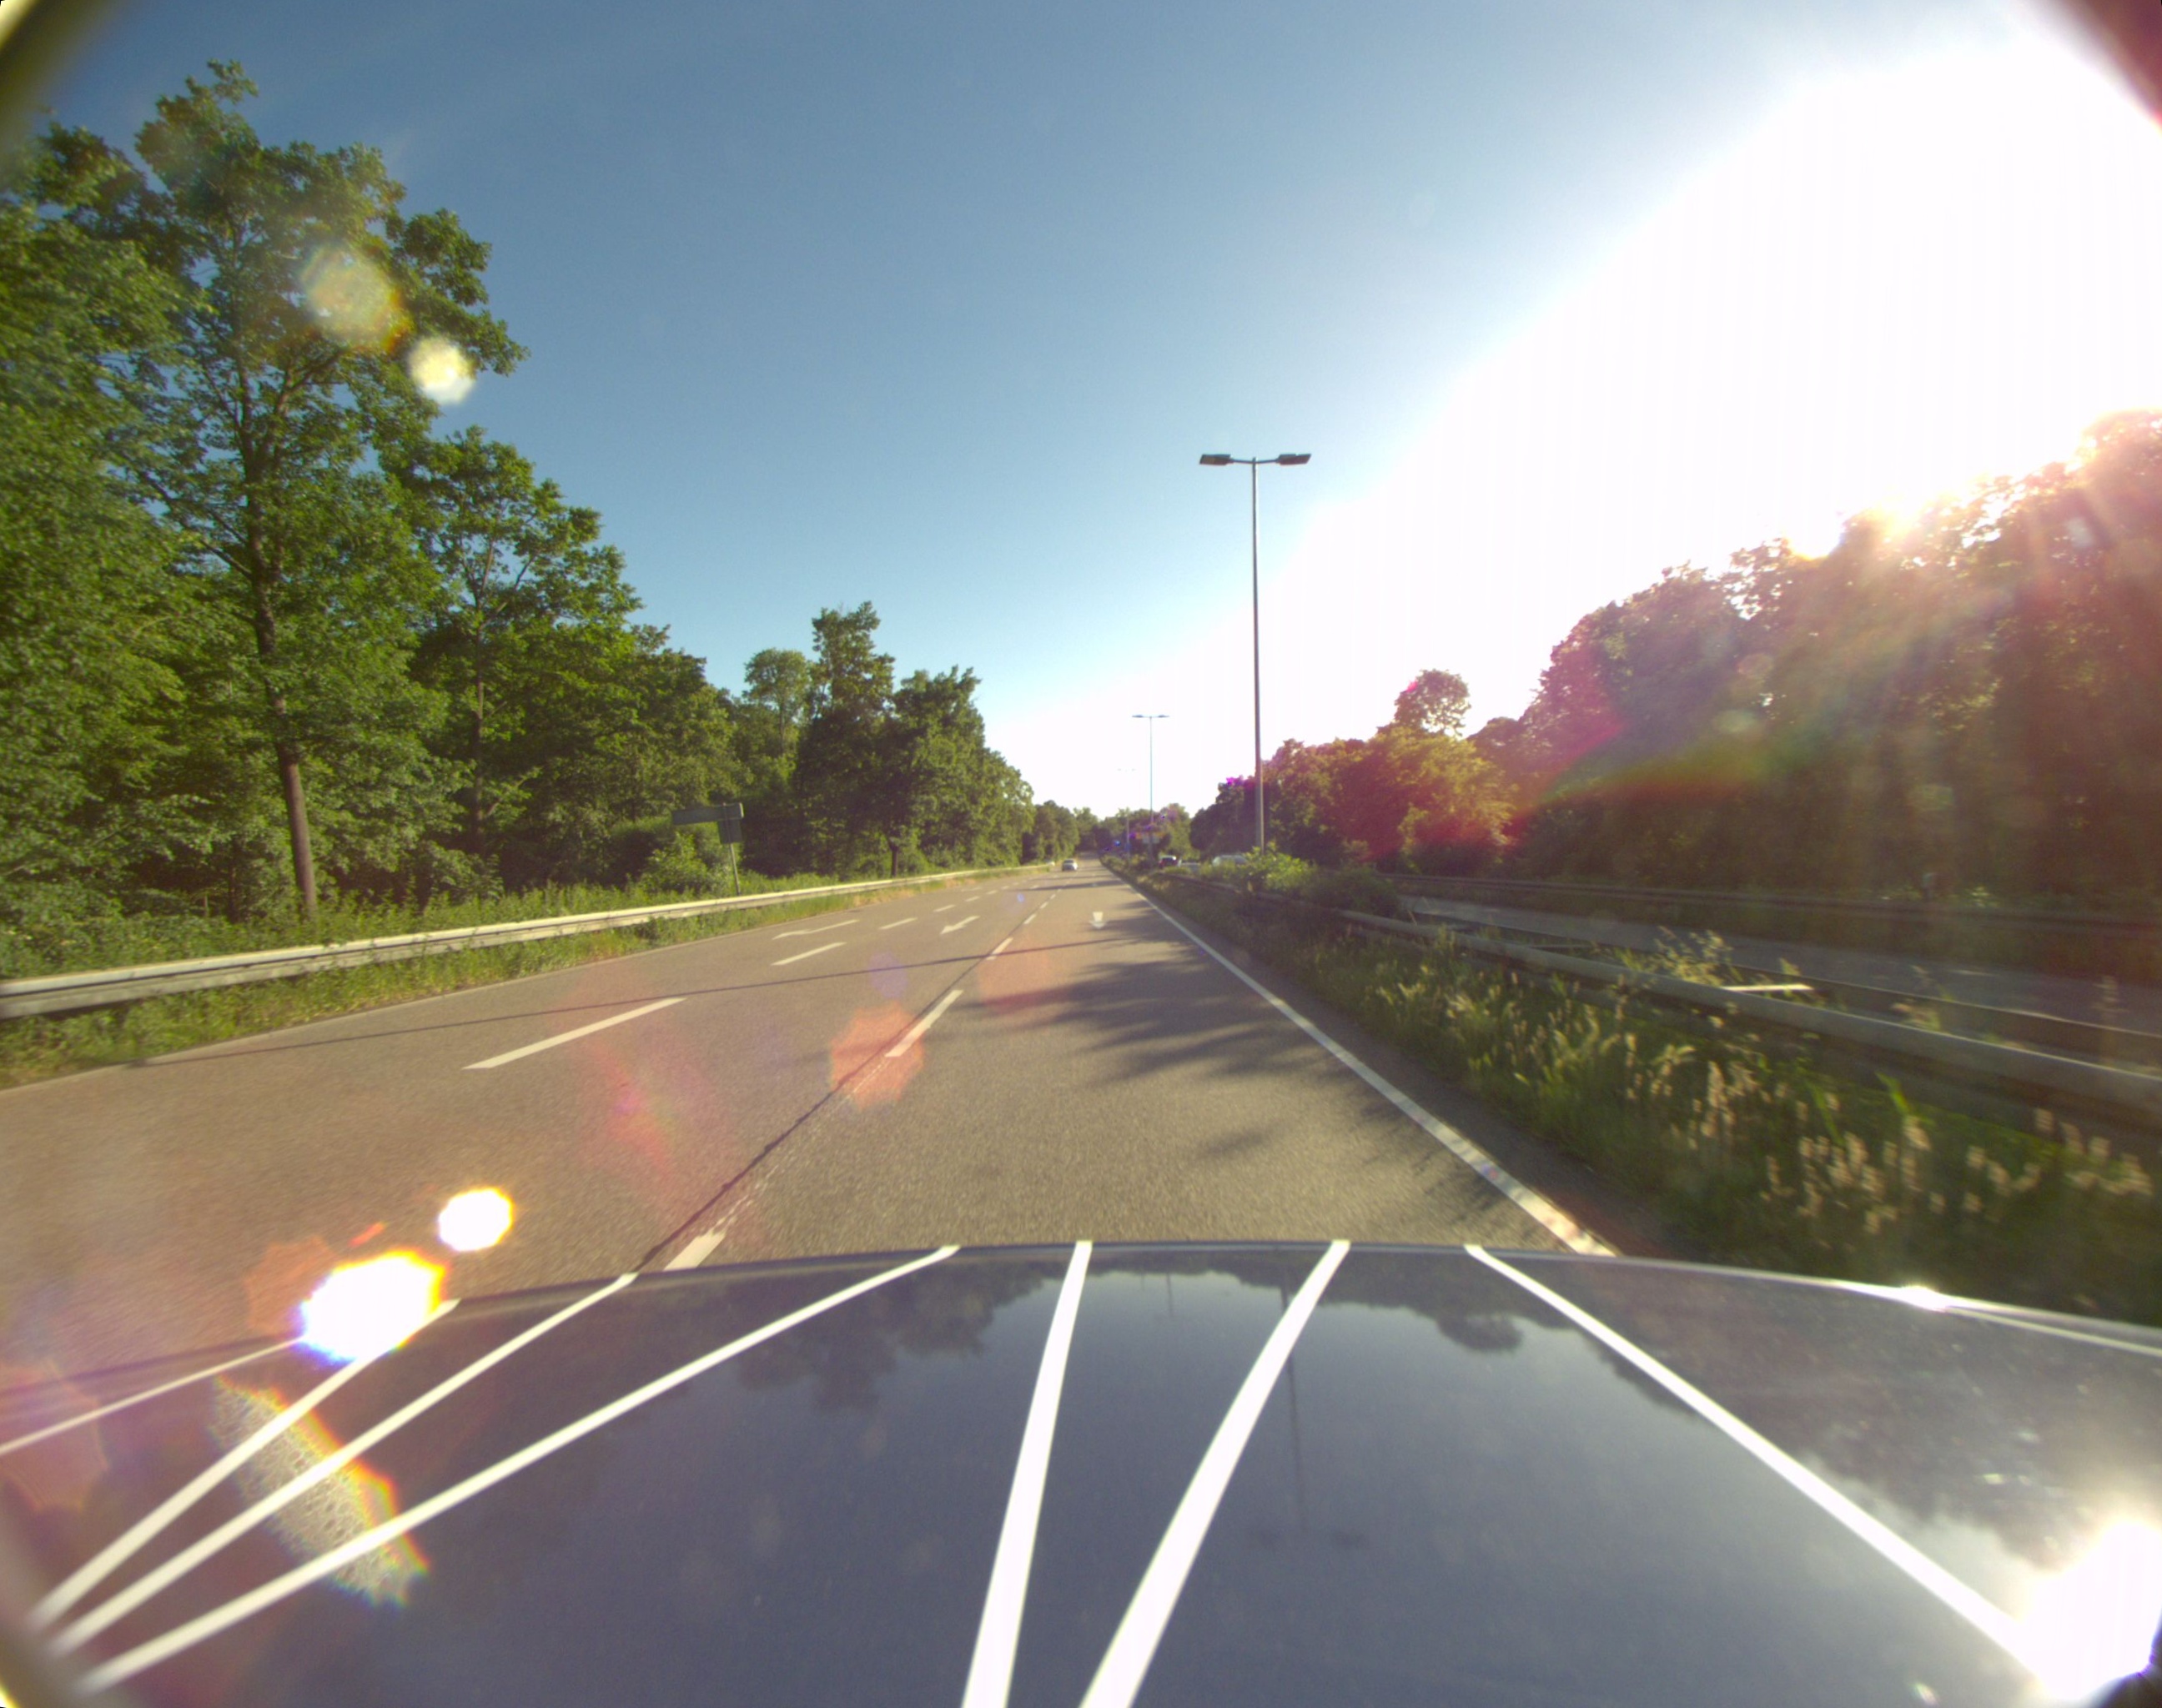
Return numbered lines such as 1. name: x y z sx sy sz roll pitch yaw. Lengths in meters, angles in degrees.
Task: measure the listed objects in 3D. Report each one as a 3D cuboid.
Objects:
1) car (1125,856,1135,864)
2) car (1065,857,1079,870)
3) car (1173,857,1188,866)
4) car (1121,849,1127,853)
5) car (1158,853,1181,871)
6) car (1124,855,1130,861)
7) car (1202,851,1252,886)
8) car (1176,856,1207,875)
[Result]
1. car: 10.231 1.247 157.698 1.846 1.747 4.712 -1 0 1
2. car: -1.031 1.190 93.508 1.682 1.477 3.390 0 -1 0
3. car: 15.374 1.142 117.462 1.756 1.441 3.713 1 0 -1
4. car: 13.102 -0.925 231.196 1.785 1.395 4.553 0 0 3
5. car: 8.921 0.757 77.196 1.790 1.700 4.547 2 0 1
6. car: 11.757 1.034 193.992 1.622 1.521 4.609 0 0 3
7. car: 7.691 0.747 40.449 1.838 1.761 4.338 -1 0 0
8. car: 8.519 0.887 58.703 1.777 1.349 4.462 -1 0 1
